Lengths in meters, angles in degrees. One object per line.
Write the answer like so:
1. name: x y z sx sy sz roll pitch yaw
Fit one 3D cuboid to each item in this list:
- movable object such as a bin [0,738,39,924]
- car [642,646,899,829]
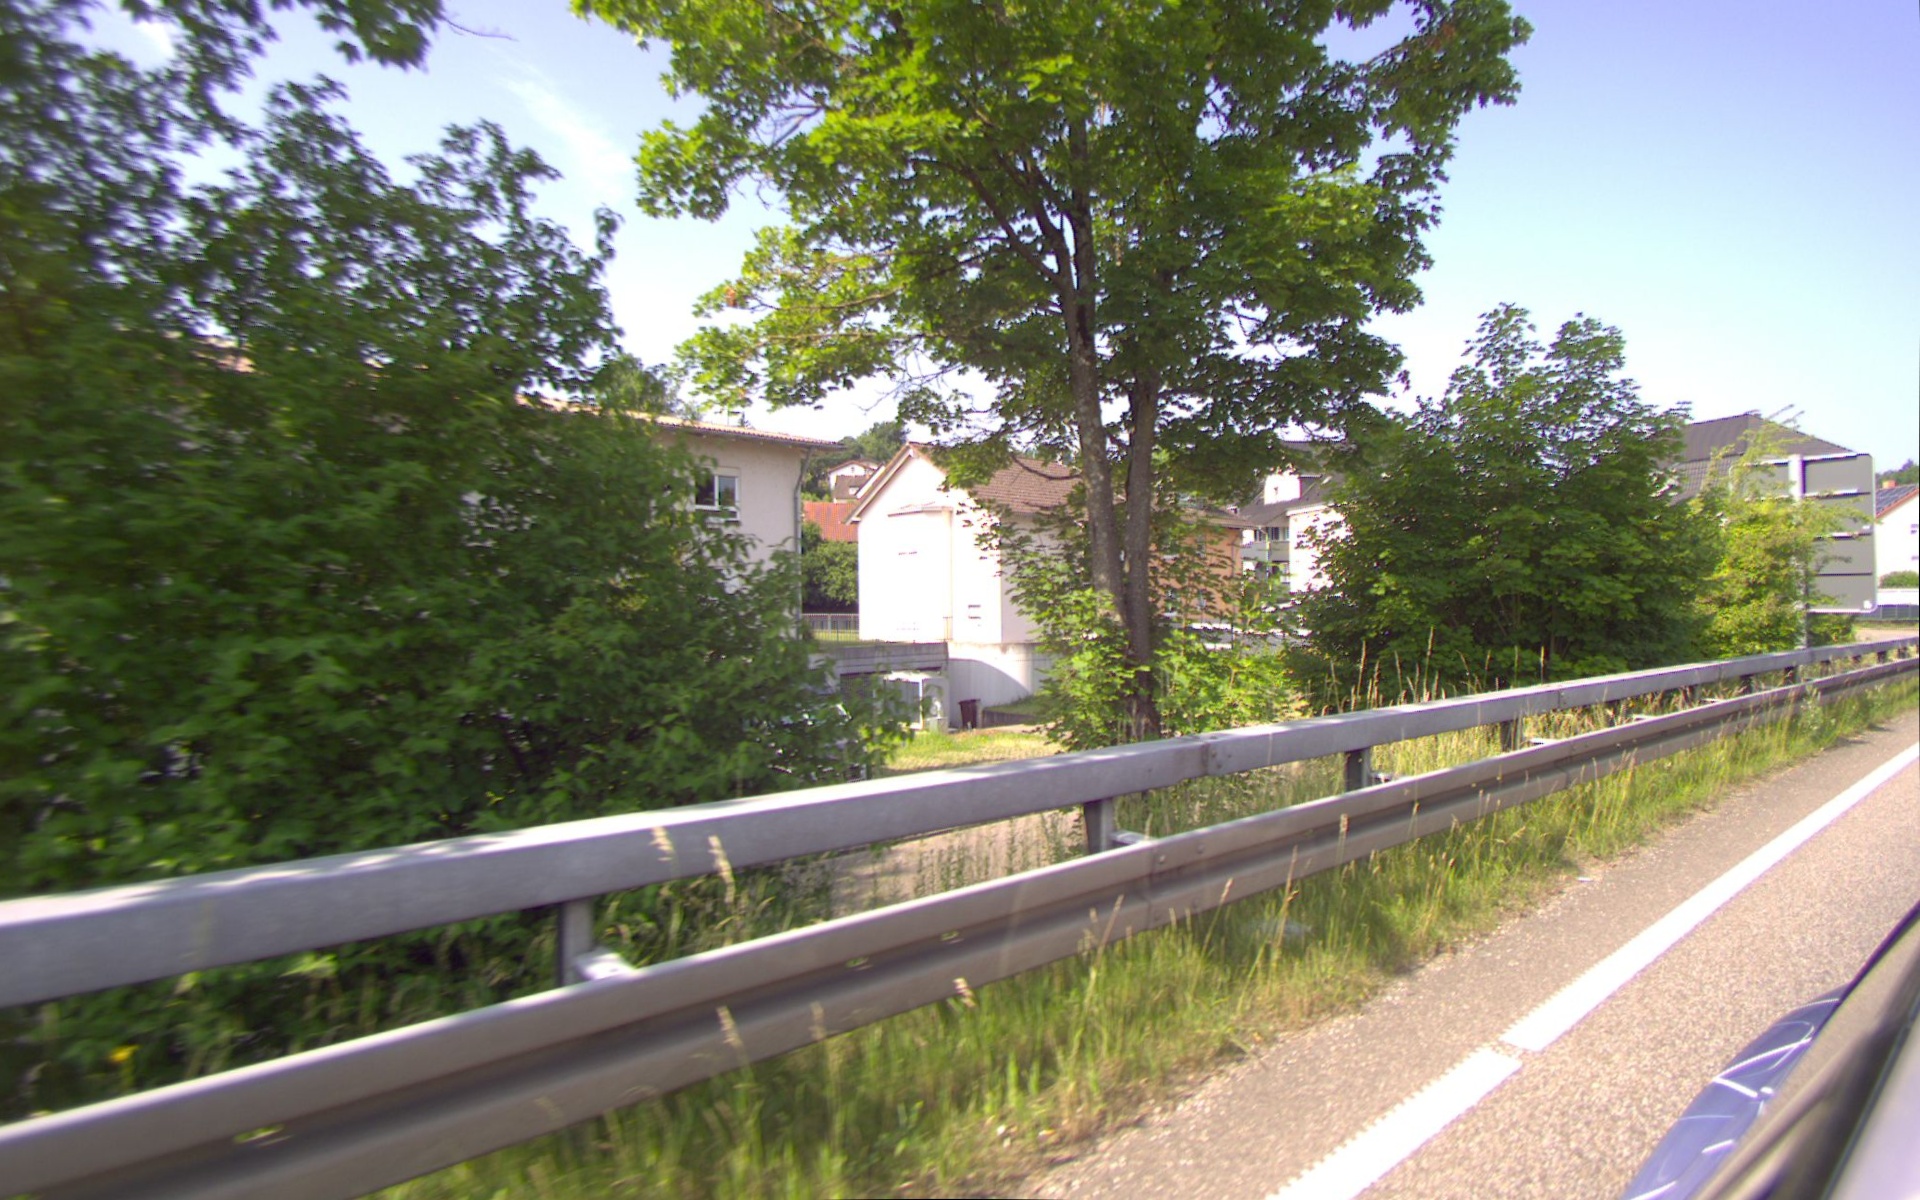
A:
1. movable object such as a bin: -13.322 3.022 13.249 1.681 2.039 2.921 0 -2 -39
2. car: -3.958 2.444 20.009 2.273 2.720 6.085 -5 2 -39
